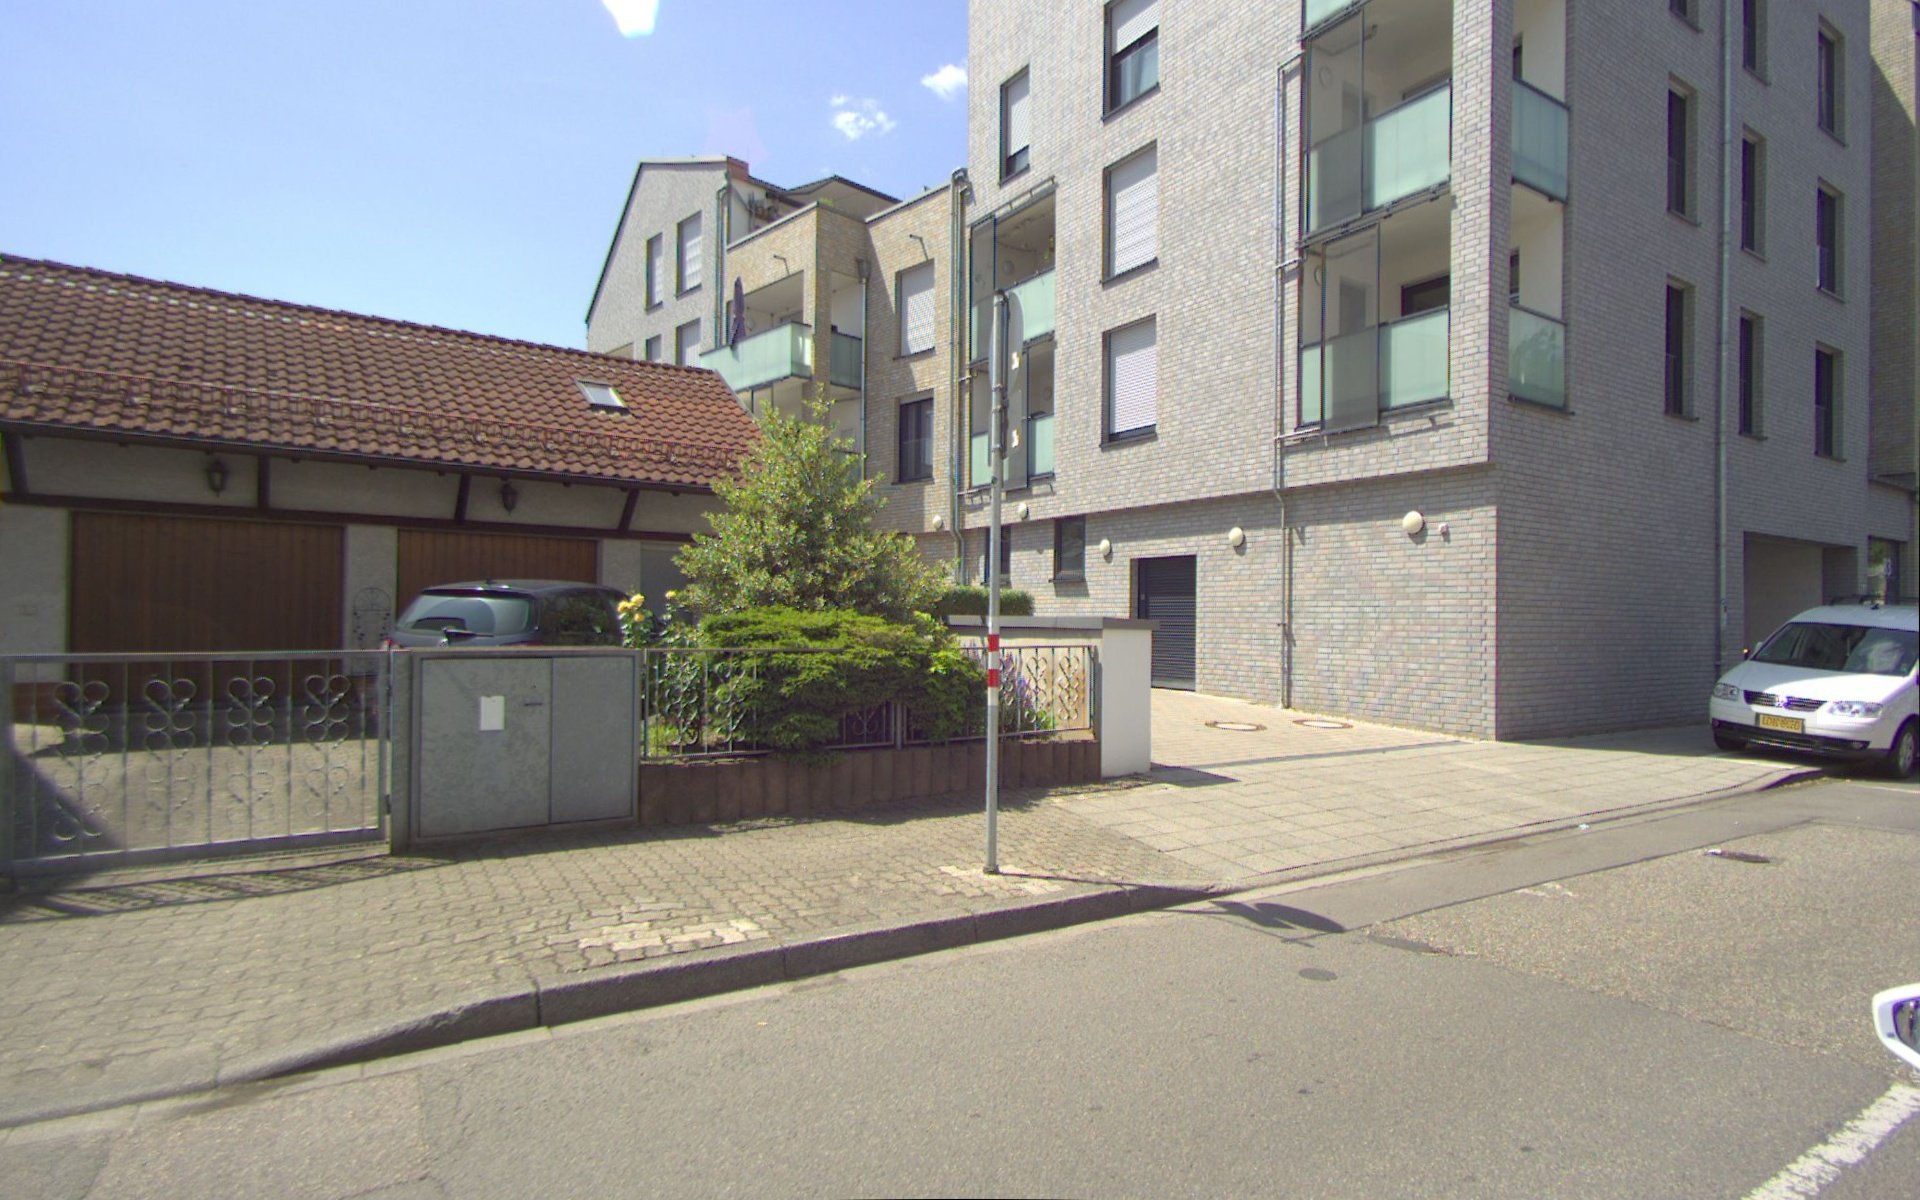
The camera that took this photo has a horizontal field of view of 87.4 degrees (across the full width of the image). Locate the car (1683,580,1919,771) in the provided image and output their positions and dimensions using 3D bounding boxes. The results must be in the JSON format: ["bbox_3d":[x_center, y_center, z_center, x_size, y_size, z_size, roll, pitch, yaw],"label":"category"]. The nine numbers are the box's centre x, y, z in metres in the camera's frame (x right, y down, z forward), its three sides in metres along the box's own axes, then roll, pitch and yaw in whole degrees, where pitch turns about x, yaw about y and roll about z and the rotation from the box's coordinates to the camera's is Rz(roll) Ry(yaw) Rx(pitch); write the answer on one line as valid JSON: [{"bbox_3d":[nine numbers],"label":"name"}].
[{"bbox_3d":[10.819,0.799,12.090,4.284,1.917,1.749,1,2,-30],"label":"car"}]

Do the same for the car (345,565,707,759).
[{"bbox_3d":[-4.136,0.495,10.230,1.605,1.560,3.566,2,1,11],"label":"car"}]
